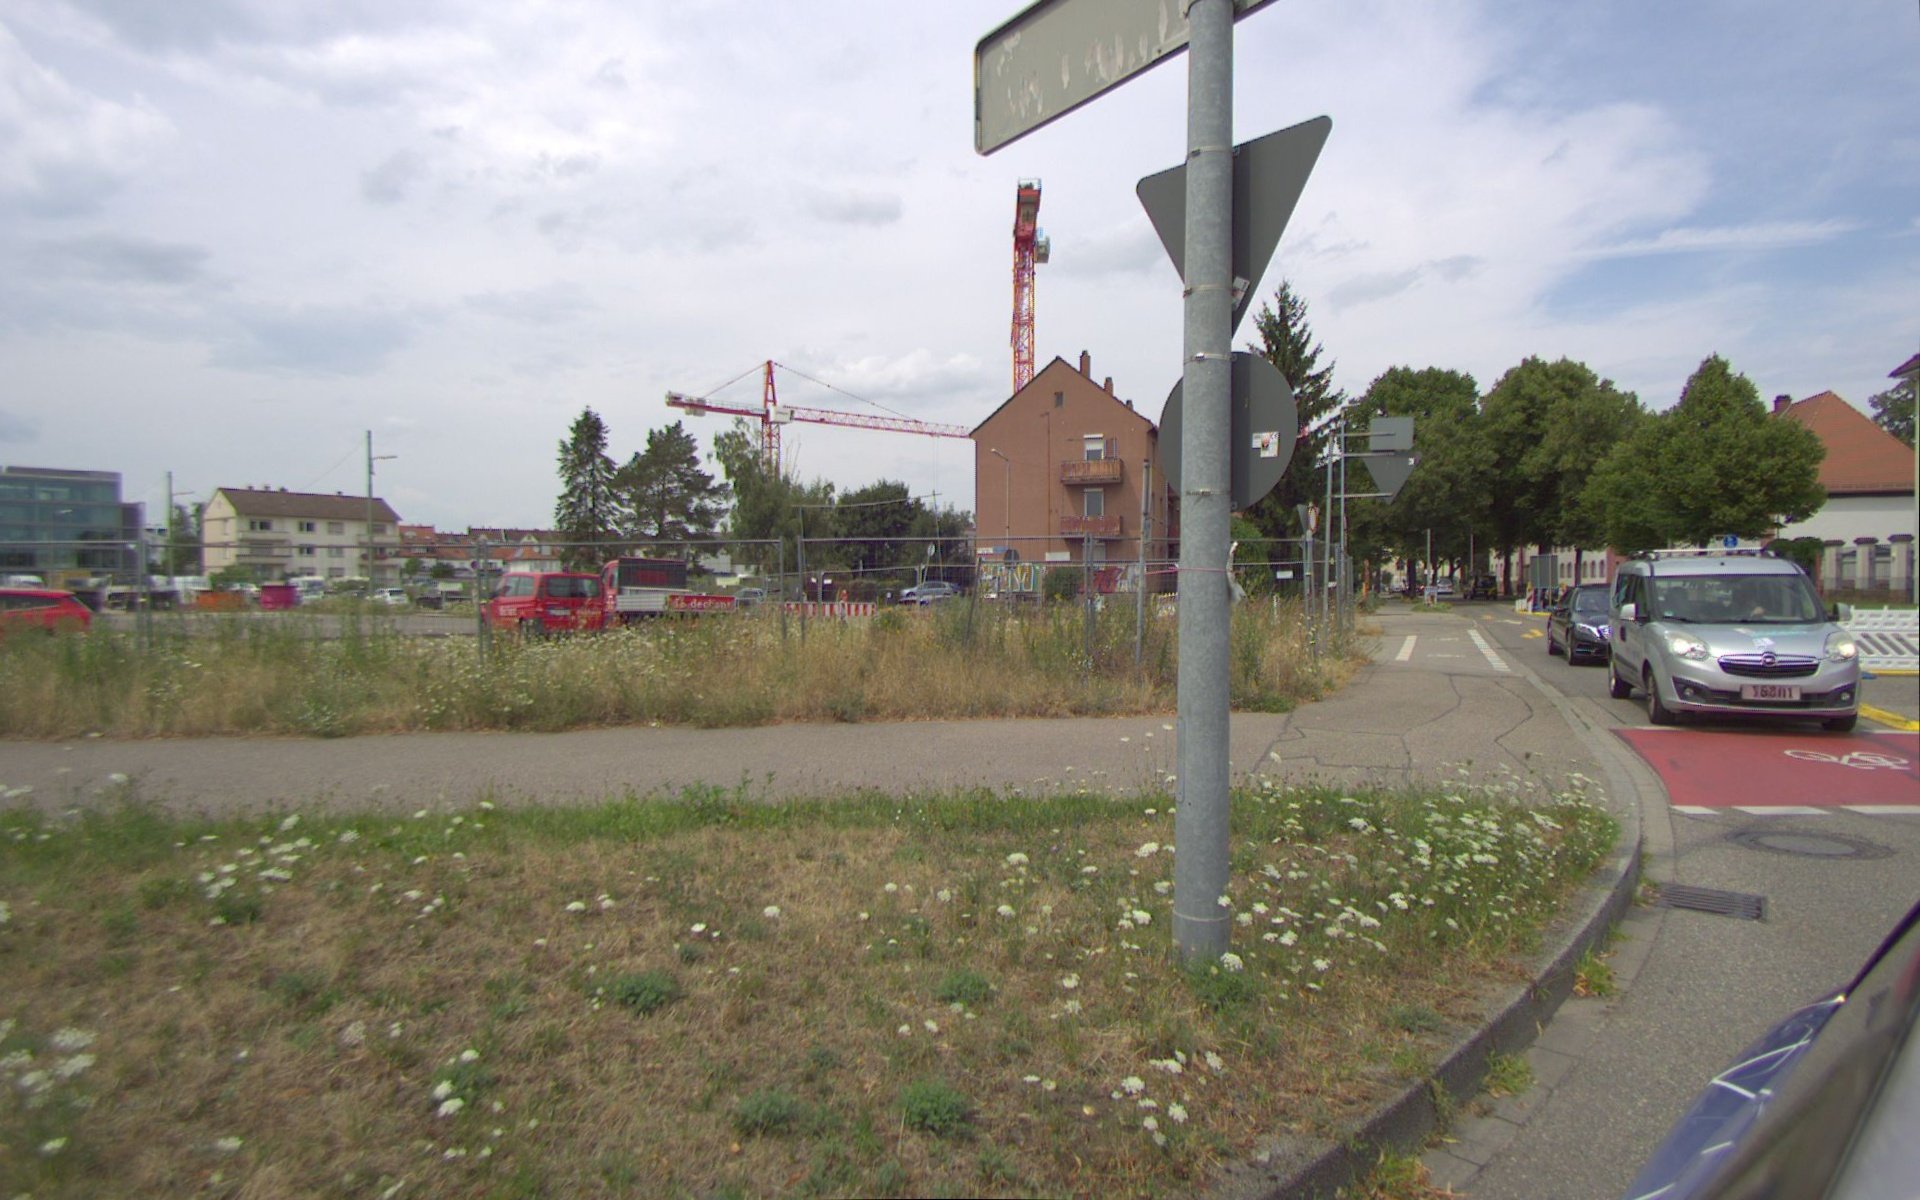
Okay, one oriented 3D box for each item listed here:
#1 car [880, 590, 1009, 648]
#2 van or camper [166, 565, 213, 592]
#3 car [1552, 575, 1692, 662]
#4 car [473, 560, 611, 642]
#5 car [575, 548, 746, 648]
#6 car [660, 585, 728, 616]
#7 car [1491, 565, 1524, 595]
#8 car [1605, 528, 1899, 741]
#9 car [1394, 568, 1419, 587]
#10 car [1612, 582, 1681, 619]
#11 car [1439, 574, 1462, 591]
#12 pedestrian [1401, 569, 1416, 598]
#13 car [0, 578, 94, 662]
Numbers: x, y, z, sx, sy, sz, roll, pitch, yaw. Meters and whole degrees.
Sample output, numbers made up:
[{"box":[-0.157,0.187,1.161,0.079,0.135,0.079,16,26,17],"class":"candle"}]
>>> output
[{"box":[-0.361,0.493,29.245,1.754,1.492,4.211,0,1,32],"class":"car"},{"box":[-78.642,-2.185,103.236,5.210,2.721,2.323,1,1,35],"class":"van or camper"},{"box":[13.102,0.311,20.289,1.801,1.523,4.824,0,0,27],"class":"car"},{"box":[-11.070,0.018,26.594,1.902,1.935,4.982,2,-1,-40],"class":"car"},{"box":[-8.447,-0.119,28.015,2.277,2.442,6.536,-1,1,-39],"class":"car"},{"box":[-14.896,-0.003,56.536,3.996,1.622,1.776,1,1,41],"class":"car"},{"box":[43.134,-1.588,79.817,1.979,2.301,5.117,0,1,25],"class":"car"},{"box":[8.896,0.262,11.827,1.793,1.971,4.543,0,1,26],"class":"car"},{"box":[65.727,-3.275,148.881,2.061,2.719,5.888,0,1,38],"class":"car"},{"box":[30.195,-0.037,44.622,1.609,1.538,4.188,0,1,22],"class":"car"},{"box":[50.494,-1.786,104.242,1.780,1.643,4.715,0,1,21],"class":"car"},{"box":[32.055,-1.164,72.362,0.844,2.039,0.728,0,0,17],"class":"pedestrian"},{"box":[-19.761,0.400,18.969,1.776,1.624,5.081,0,1,32],"class":"car"}]
